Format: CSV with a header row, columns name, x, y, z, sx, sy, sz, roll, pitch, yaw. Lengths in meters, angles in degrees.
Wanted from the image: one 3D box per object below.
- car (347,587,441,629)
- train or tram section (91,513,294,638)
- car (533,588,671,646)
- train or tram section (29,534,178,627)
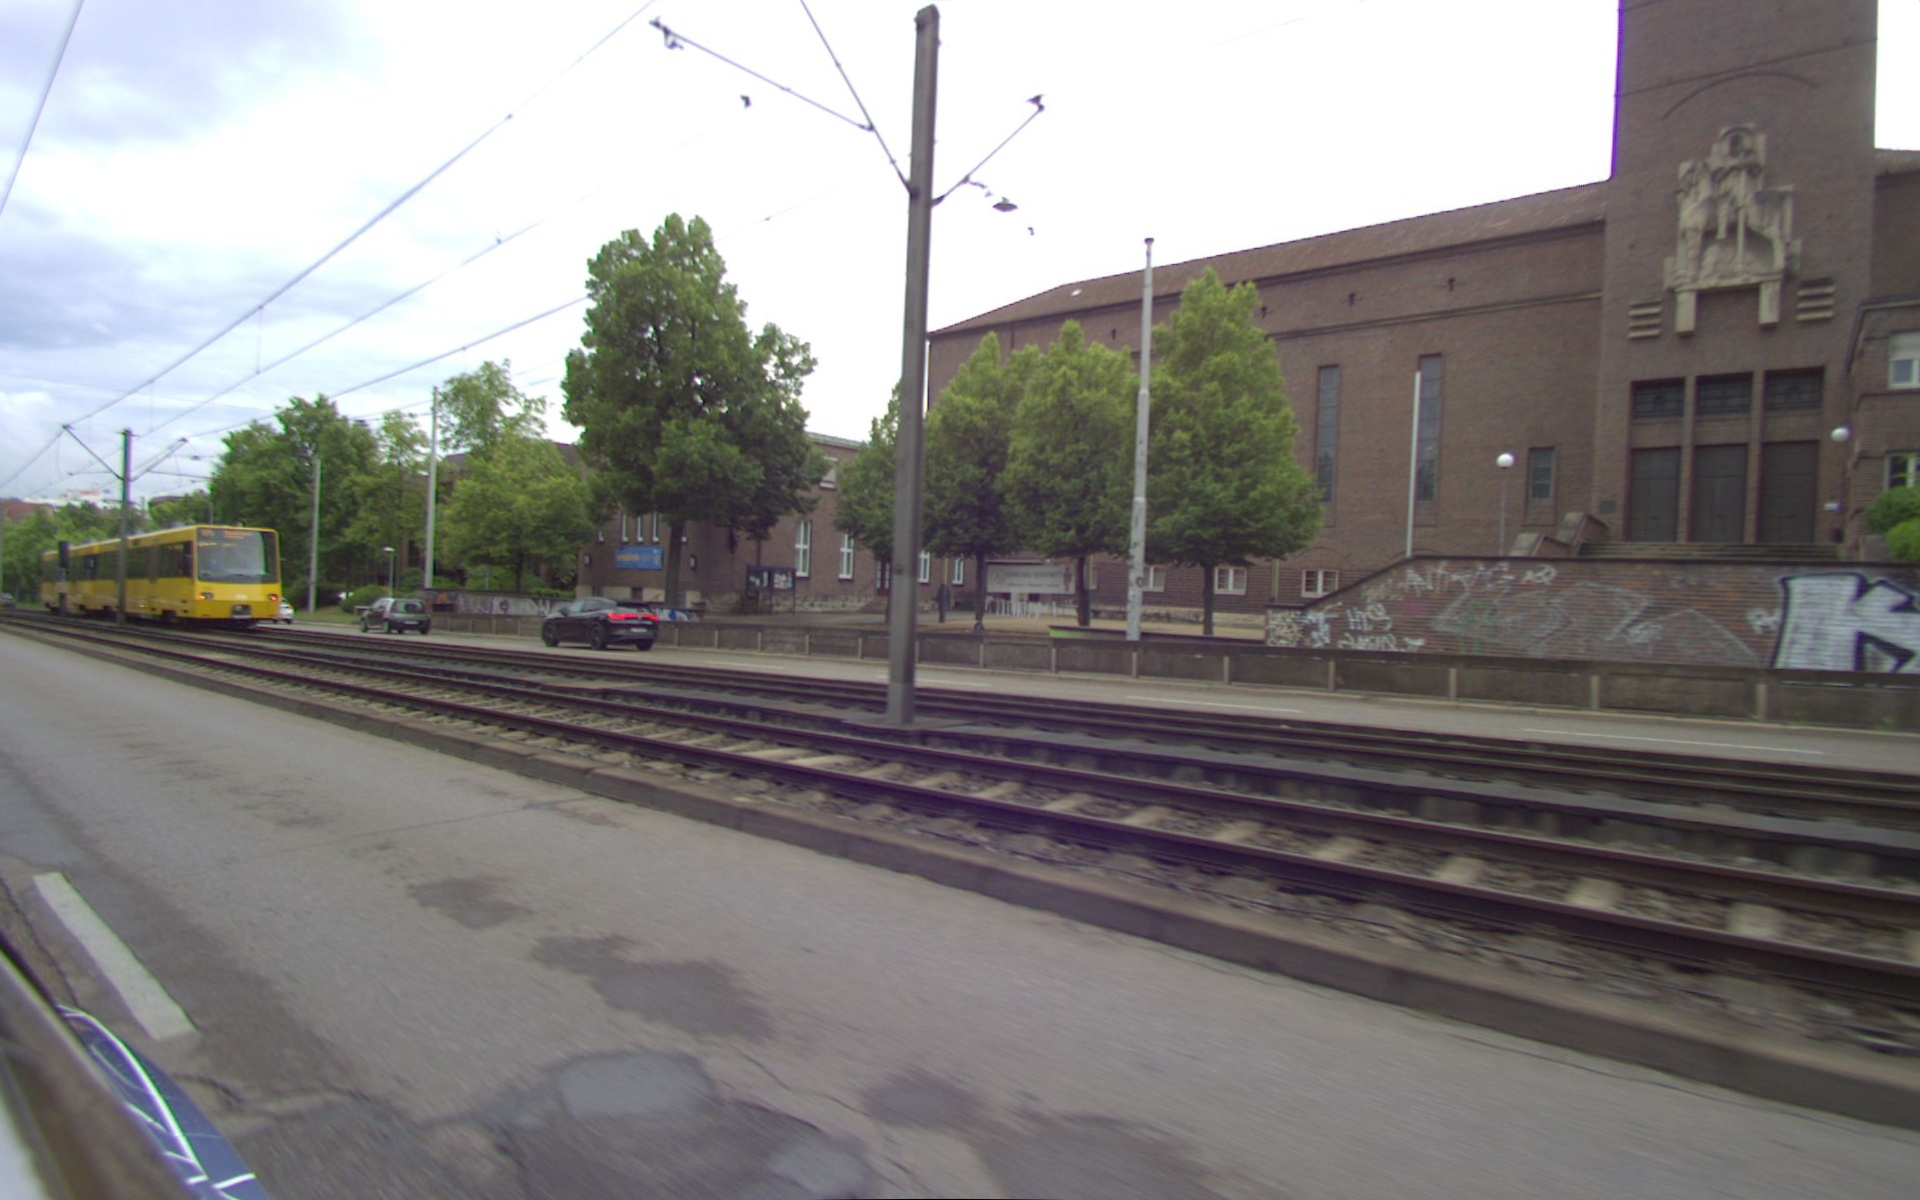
name,x,y,z,sx,sy,sz,roll,pitch,yaw
car,-23.850,0.335,42.584,4.408,1.656,1.973,1,-2,40
train or tram section,-30.244,-0.813,39.258,17.870,4.006,2.798,0,0,42
car,-11.135,0.505,31.332,4.521,1.656,1.973,1,-2,40
train or tram section,-43.707,-0.887,51.154,20.019,4.006,2.798,0,0,41
